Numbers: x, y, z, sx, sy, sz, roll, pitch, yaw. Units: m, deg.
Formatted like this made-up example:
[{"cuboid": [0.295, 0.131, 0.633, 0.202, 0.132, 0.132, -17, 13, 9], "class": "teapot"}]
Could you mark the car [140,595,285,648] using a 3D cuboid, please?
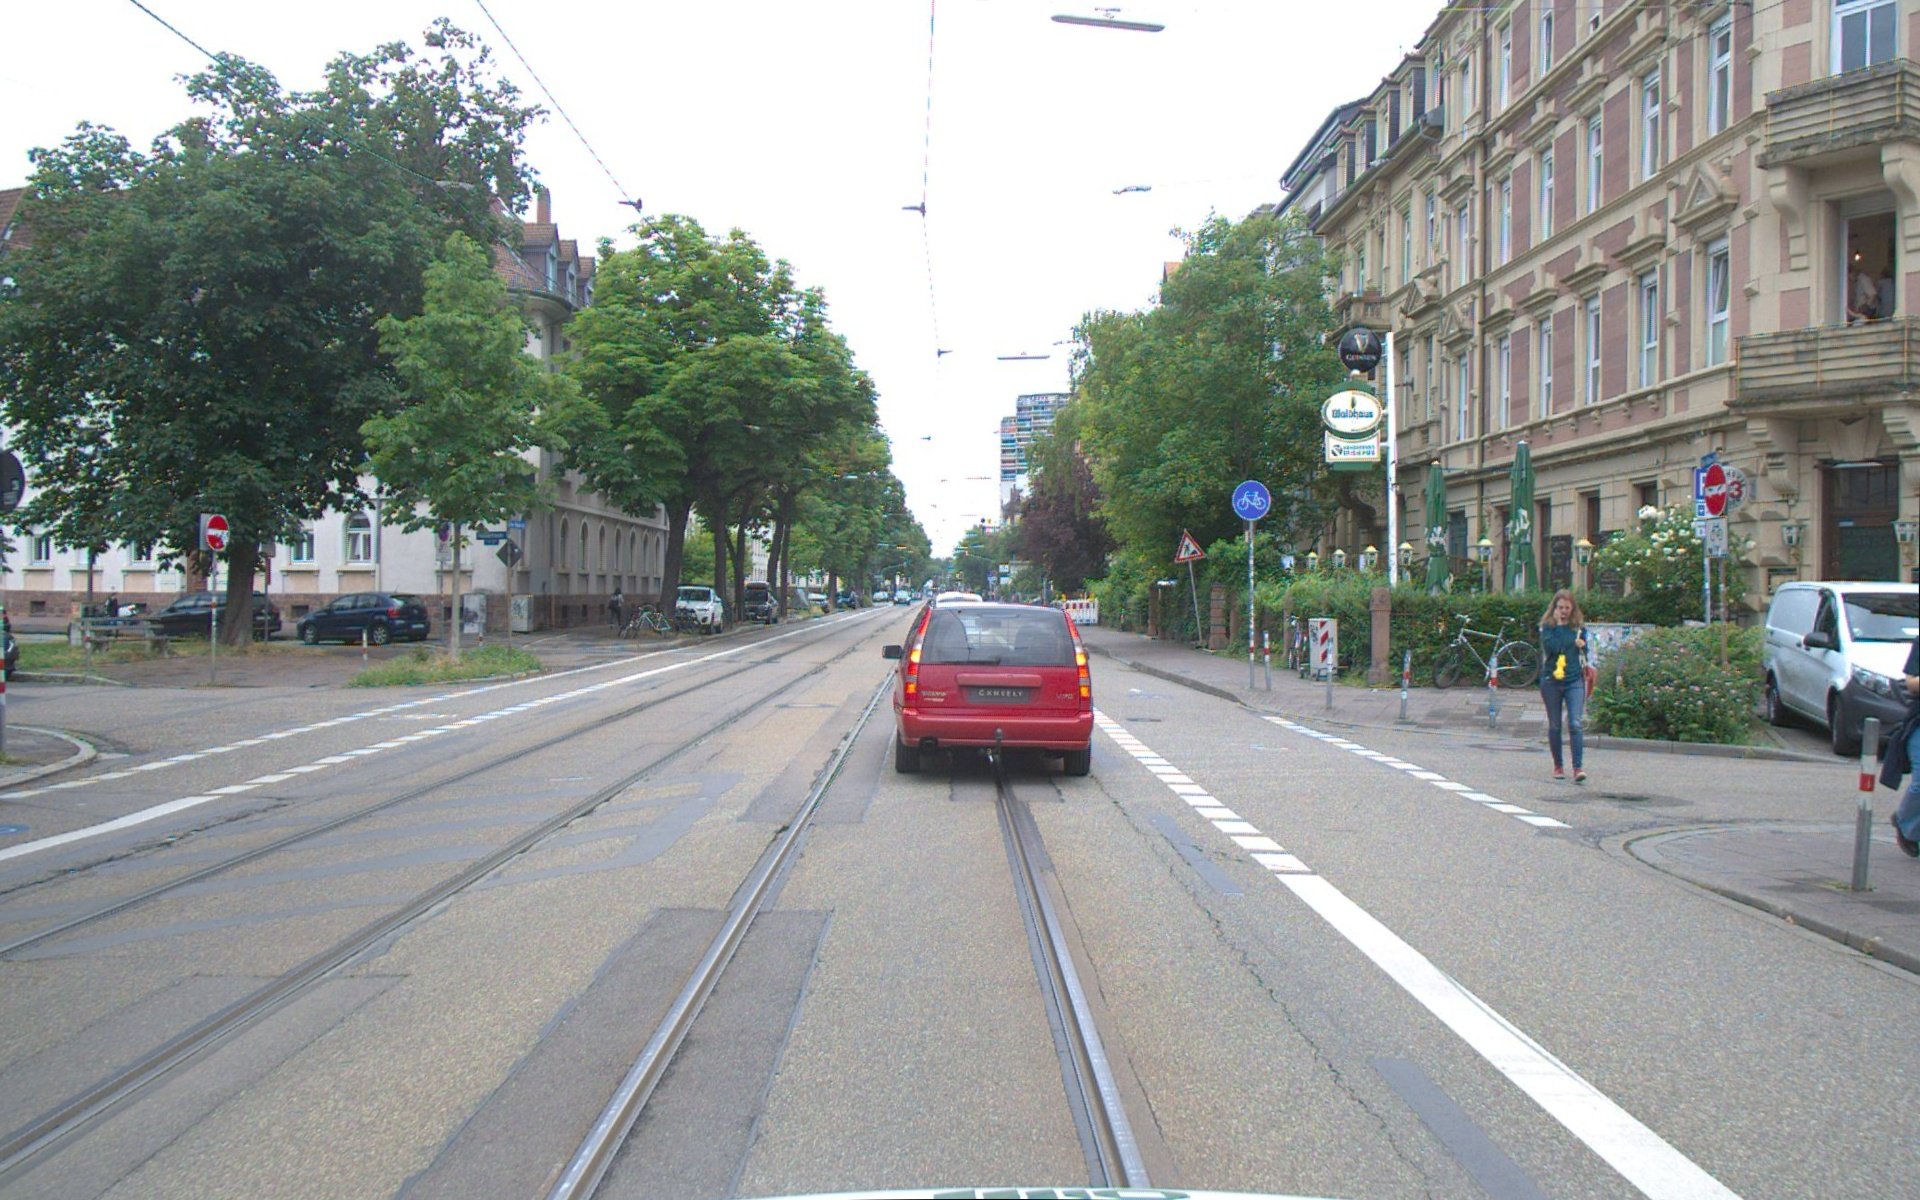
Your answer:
[{"cuboid": [-21.889, 0.605, 48.456, 3.852, 1.489, 1.706, 1, 0, 22], "class": "car"}]

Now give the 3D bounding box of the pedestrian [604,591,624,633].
[{"cuboid": [-12.290, 0.423, 58.795, 0.553, 1.493, 0.722, 0, 0, -1], "class": "pedestrian"}]

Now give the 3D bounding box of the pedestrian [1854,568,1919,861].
[{"cuboid": [5.837, 0.662, 9.761, 0.776, 1.665, 0.836, -1, -3, 16], "class": "pedestrian"}]

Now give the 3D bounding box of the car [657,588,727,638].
[{"cuboid": [-9.395, 0.442, 58.176, 1.859, 1.684, 4.224, 1, 0, -2], "class": "car"}]

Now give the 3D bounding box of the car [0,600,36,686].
[{"cuboid": [-18.117, 0.701, 28.800, 3.980, 1.435, 1.659, 1, 0, 28], "class": "car"}]

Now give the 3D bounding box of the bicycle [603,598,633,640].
[{"cuboid": [-10.208, 0.556, 49.337, 0.664, 1.155, 1.926, 0, 1, -19], "class": "bicycle"}]

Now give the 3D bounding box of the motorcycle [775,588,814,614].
[{"cuboid": [-9.913, 0.061, 99.007, 2.226, 1.538, 0.923, 0, -2, 35], "class": "motorcycle"}]

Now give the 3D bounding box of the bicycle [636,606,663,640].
[{"cuboid": [-9.187, 0.669, 48.968, 0.473, 0.975, 1.398, 0, 0, 1], "class": "bicycle"}]

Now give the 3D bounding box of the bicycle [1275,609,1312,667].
[{"cuboid": [6.328, 0.703, 31.427, 0.295, 1.060, 1.848, 1, 0, -1], "class": "bicycle"}]

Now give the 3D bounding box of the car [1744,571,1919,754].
[{"cuboid": [10.959, 0.654, 19.673, 2.008, 1.910, 5.033, 1, 0, 14], "class": "car"}]

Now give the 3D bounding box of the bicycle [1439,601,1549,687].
[{"cuboid": [8.289, 0.678, 25.731, 1.570, 1.299, 0.513, 0, 0, 11], "class": "bicycle"}]

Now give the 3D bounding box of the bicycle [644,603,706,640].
[{"cuboid": [-9.335, 0.688, 54.244, 1.883, 1.140, 0.624, 2, 0, -1], "class": "bicycle"}]

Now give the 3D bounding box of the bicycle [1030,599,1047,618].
[{"cuboid": [6.365, 0.701, 134.232, 0.898, 1.533, 2.382, 0, 0, 16], "class": "bicycle"}]

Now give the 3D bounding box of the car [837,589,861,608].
[{"cuboid": [-9.676, -0.108, 144.259, 1.813, 1.590, 3.942, 1, 0, -1], "class": "car"}]

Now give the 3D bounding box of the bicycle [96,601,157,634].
[{"cuboid": [-27.453, 0.581, 54.465, 2.141, 1.053, 0.653, 1, 0, 26], "class": "bicycle"}]

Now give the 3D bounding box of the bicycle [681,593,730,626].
[{"cuboid": [-9.790, 0.354, 63.565, 1.706, 1.213, 0.653, 2, 0, 14], "class": "bicycle"}]

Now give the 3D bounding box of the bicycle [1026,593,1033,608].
[{"cuboid": [6.510, 0.032, 155.321, 0.540, 1.424, 1.734, 1, 0, 0], "class": "bicycle"}]

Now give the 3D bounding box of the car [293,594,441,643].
[{"cuboid": [-16.506, 0.501, 46.051, 3.673, 1.330, 1.741, 0, 0, 23], "class": "car"}]

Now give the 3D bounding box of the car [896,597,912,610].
[{"cuboid": [-6.043, 0.343, 178.264, 1.720, 1.404, 4.025, 0, 0, -2], "class": "car"}]

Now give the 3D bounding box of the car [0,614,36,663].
[{"cuboid": [-27.287, 1.058, 46.142, 2.903, 1.322, 1.353, 1, 0, 31], "class": "car"}]

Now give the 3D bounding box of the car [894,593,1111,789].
[{"cuboid": [0.309, 0.700, 14.718, 1.655, 1.466, 3.742, 1, 0, -1], "class": "car"}]

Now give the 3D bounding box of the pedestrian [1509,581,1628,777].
[{"cuboid": [5.413, 0.678, 14.763, 0.854, 1.685, 0.909, 1, 0, 12], "class": "pedestrian"}]

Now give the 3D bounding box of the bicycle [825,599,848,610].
[{"cuboid": [-9.683, 0.371, 129.521, 1.713, 0.858, 0.684, 1, 0, 0], "class": "bicycle"}]

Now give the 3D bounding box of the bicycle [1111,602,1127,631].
[{"cuboid": [5.978, 0.603, 62.298, 0.469, 1.063, 1.531, 0, 0, 0], "class": "bicycle"}]

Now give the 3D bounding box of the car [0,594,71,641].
[{"cuboid": [-30.670, 0.538, 53.505, 3.419, 1.466, 1.673, 1, 0, 26], "class": "car"}]

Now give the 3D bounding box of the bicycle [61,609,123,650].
[{"cuboid": [-20.780, 0.697, 39.587, 1.637, 0.941, 0.448, 0, 1, 27], "class": "bicycle"}]

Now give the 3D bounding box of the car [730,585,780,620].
[{"cuboid": [-9.517, 0.096, 76.952, 1.741, 1.537, 4.237, 1, 0, 0], "class": "car"}]

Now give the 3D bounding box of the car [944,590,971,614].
[{"cuboid": [-0.188, 0.147, 117.208, 1.706, 1.634, 3.998, 1, 0, -3], "class": "car"}]

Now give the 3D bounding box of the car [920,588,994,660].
[{"cuboid": [-0.024, 0.545, 40.196, 1.683, 1.653, 3.941, 1, 0, 1], "class": "car"}]
